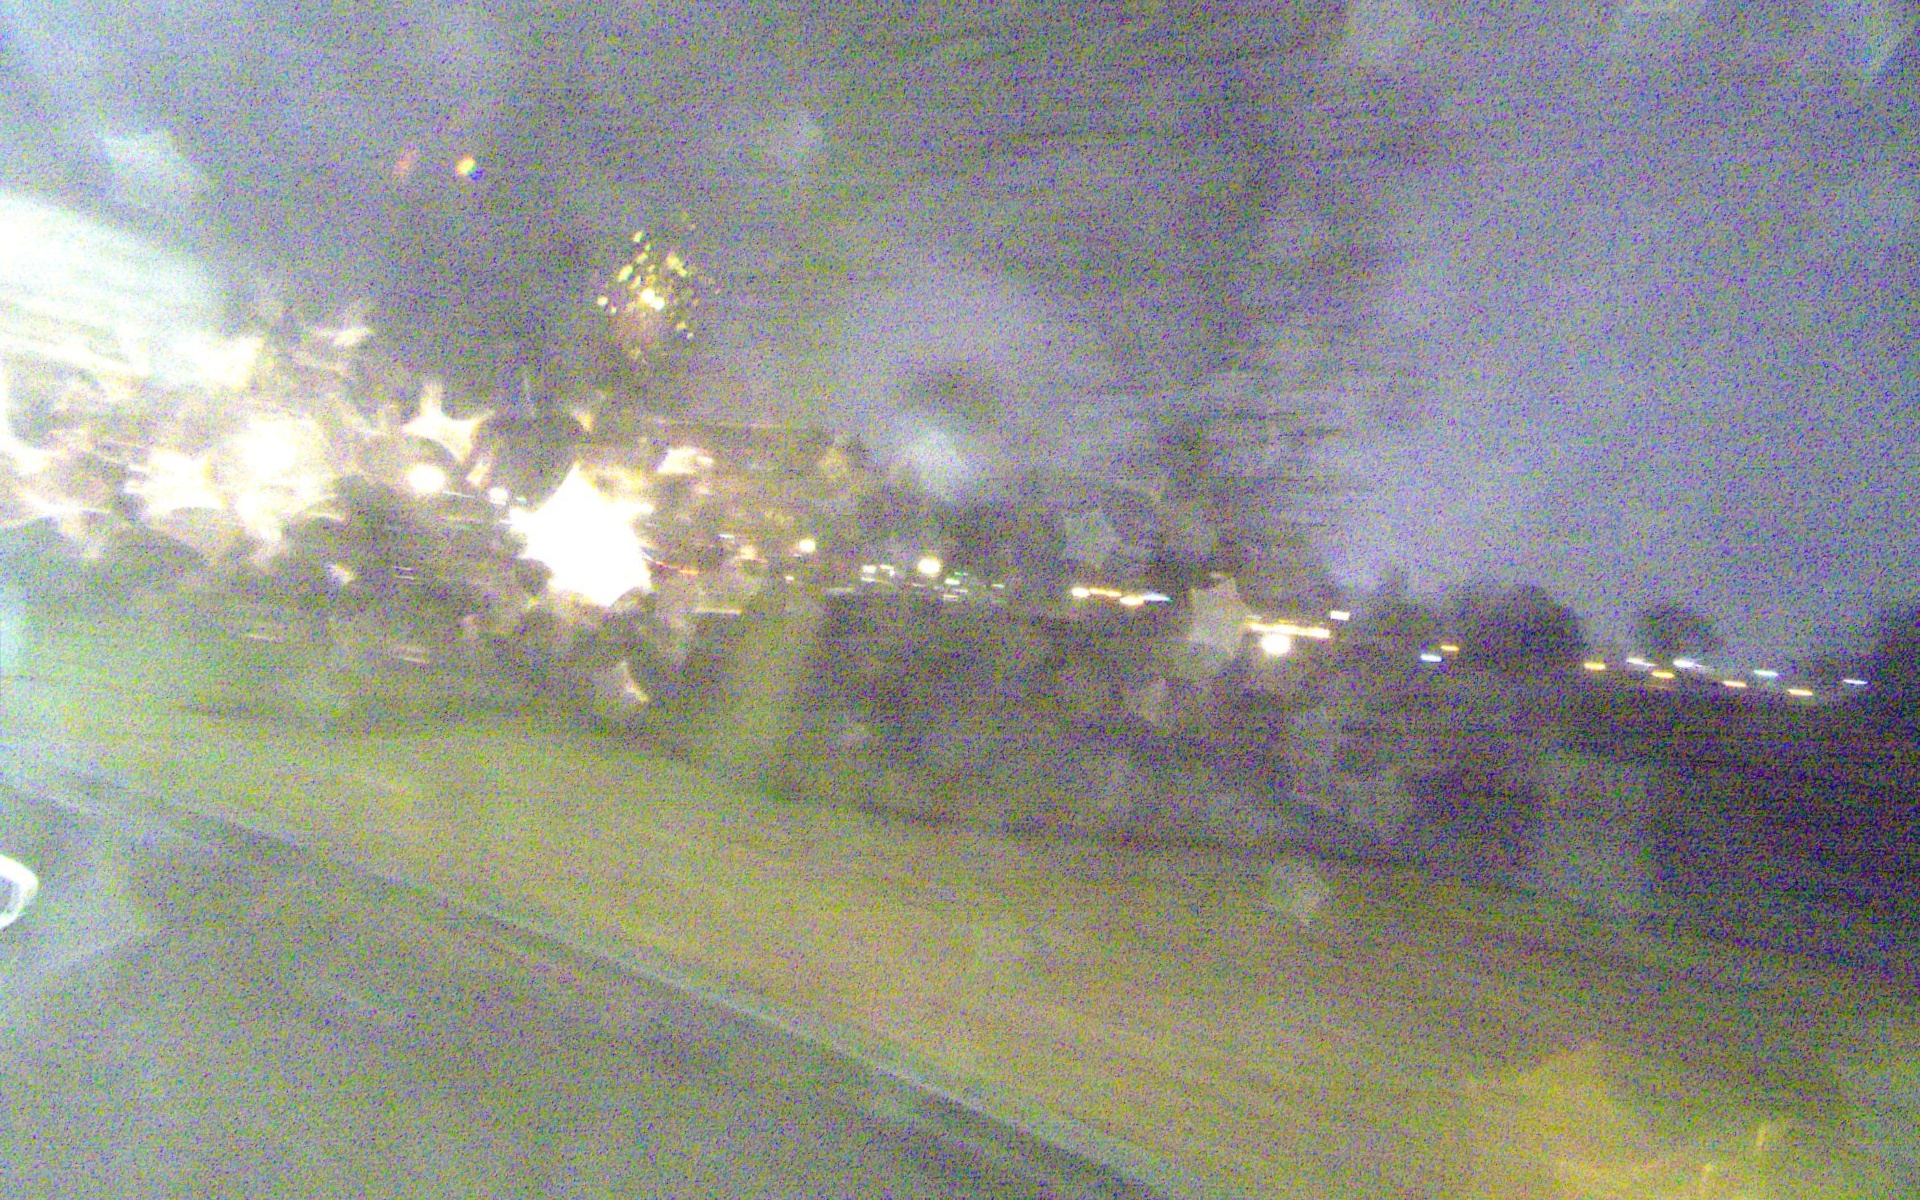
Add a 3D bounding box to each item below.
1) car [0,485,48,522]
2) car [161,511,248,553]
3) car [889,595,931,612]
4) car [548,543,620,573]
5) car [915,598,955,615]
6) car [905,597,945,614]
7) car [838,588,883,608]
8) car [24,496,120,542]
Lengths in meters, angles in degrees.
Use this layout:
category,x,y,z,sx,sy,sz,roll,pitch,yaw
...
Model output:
category,x,y,z,sx,sy,sz,roll,pitch,yaw
car,-48.281,-4.970,50.943,3.842,1.555,1.721,6,-1,26
car,-36.681,-3.317,48.820,3.842,1.555,1.721,6,-1,26
car,-5.400,0.372,108.795,4.076,1.391,1.721,6,-1,26
car,-26.442,-2.939,70.771,4.907,1.555,1.721,6,-1,26
car,-2.820,0.760,114.523,4.076,1.391,1.721,6,-1,26
car,-3.898,0.637,111.884,4.076,1.391,1.721,6,-1,26
car,-9.861,-0.192,99.497,4.076,1.391,1.721,6,-1,26
car,-39.170,-3.560,44.378,3.842,1.555,1.721,6,-1,26
